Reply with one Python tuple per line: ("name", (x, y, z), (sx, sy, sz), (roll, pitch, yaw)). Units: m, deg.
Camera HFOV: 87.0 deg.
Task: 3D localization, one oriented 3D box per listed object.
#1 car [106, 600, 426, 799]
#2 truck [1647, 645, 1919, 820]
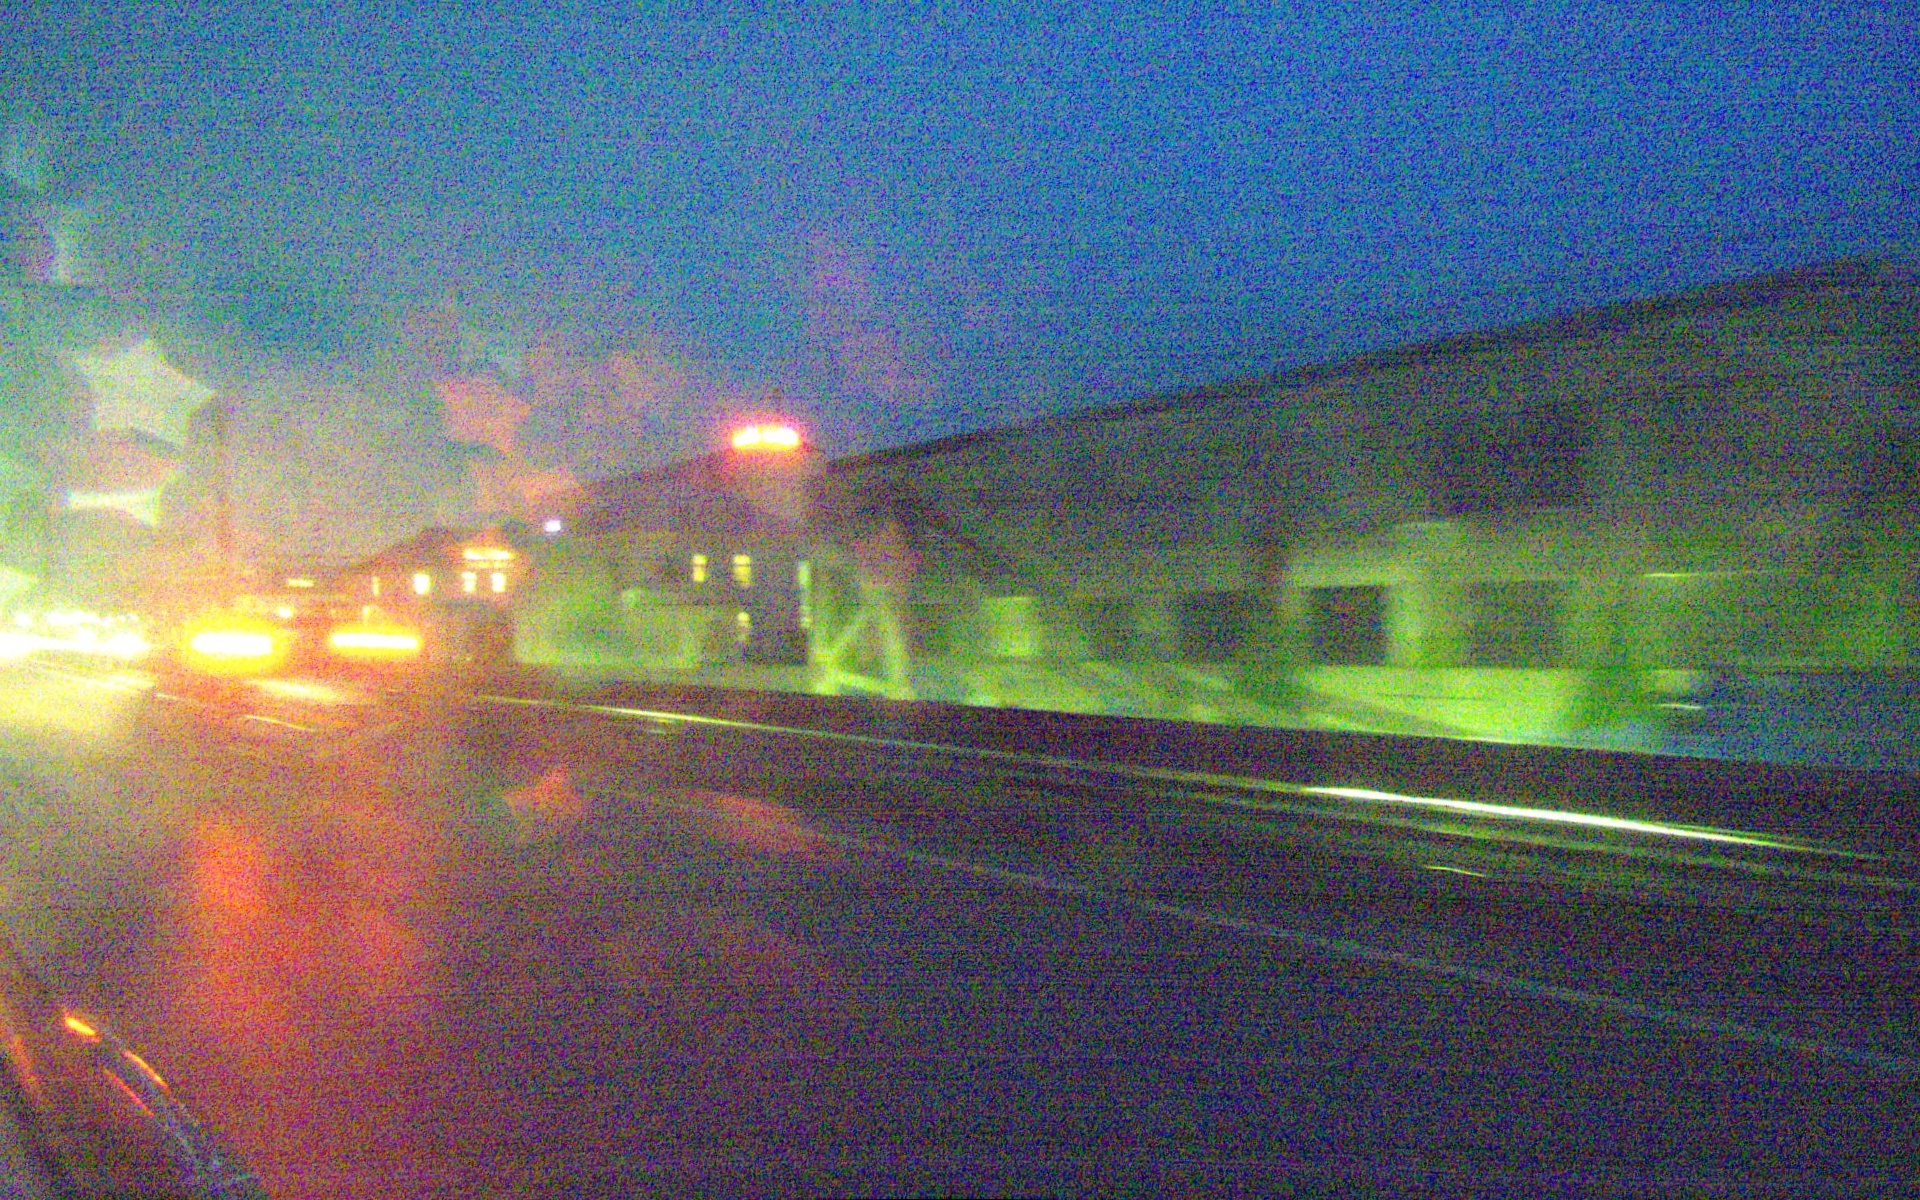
("car", (-7.108, 0.836, 10.239), (3.727, 1.630, 1.808), (-1, -1, 41))
("truck", (20.540, 2.859, 22.666), (2.724, 3.509, 8.110), (0, -1, -45))
